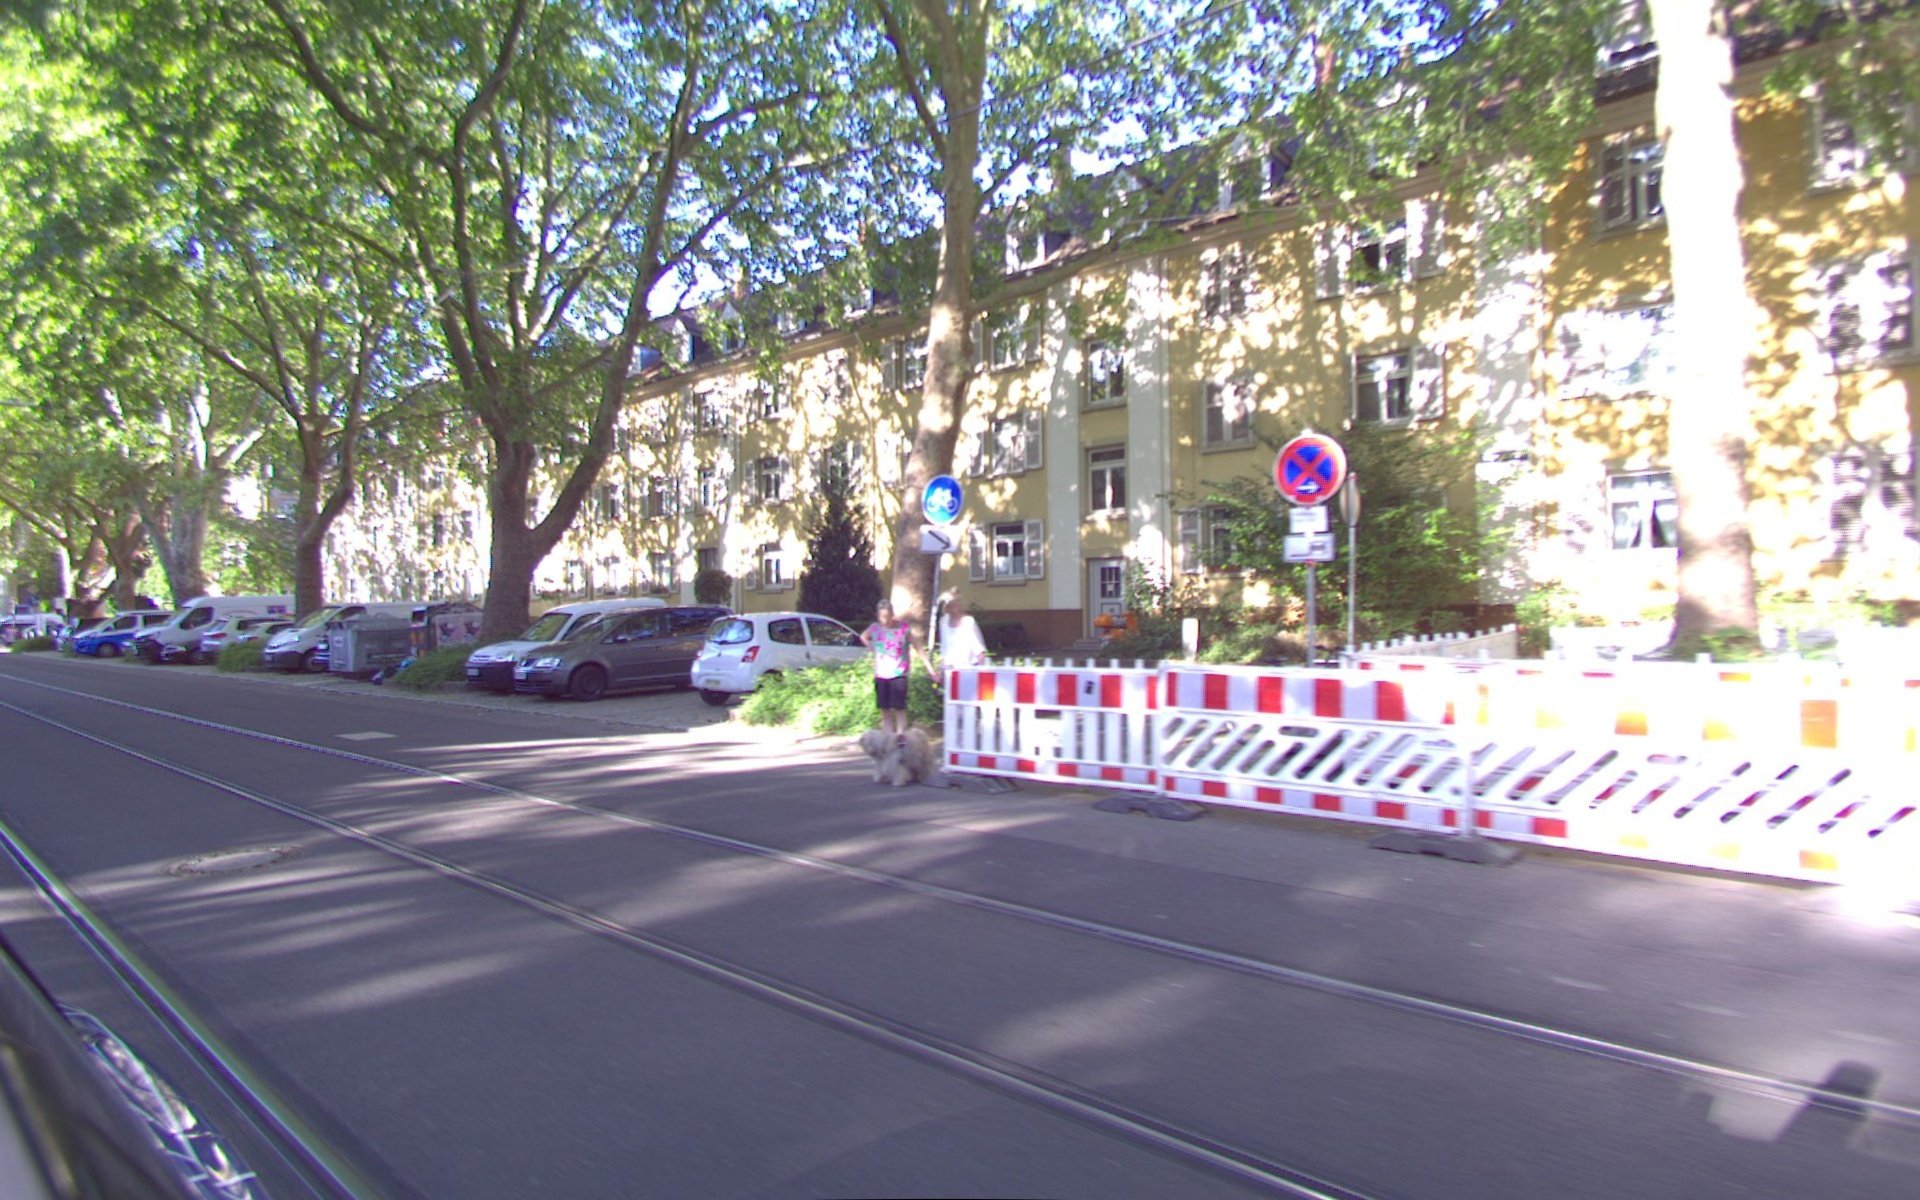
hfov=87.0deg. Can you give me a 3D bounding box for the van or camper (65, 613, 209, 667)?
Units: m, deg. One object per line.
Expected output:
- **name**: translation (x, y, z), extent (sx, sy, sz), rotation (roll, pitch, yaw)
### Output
- **van or camper**: translation (-37.460, 1.791, 46.153), extent (2.117, 2.206, 4.771), rotation (-2, 0, 40)

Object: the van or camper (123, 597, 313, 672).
- **van or camper**: translation (-27.767, 1.204, 38.039), extent (2.443, 2.535, 5.335), rotation (-2, 0, 40)

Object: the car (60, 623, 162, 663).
- **car**: translation (-42.290, 2.104, 50.451), extent (1.703, 1.828, 3.645), rotation (-2, 0, 40)

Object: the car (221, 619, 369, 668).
- **car**: translation (-22.185, 1.409, 33.863), extent (1.861, 1.509, 3.807), rotation (-2, -1, 41)

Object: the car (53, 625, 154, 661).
- **car**: translation (-44.009, 2.197, 52.052), extent (1.796, 1.636, 3.650), rotation (-2, 0, 36)

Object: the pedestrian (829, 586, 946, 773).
- **pedestrian**: translation (-0.727, 0.757, 10.164), extent (0.796, 1.758, 0.813), rotation (-1, 0, 41)

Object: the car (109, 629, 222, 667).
- **car**: translation (-34.449, 2.057, 43.934), extent (1.692, 1.471, 3.500), rotation (-2, 0, 34)

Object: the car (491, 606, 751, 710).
- **car**: translation (-6.235, 0.994, 18.890), extent (4.183, 1.701, 1.935), rotation (0, -1, -42)

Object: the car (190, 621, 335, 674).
- **car**: translation (-24.035, 1.594, 34.980), extent (1.861, 1.675, 3.807), rotation (-2, -1, 41)

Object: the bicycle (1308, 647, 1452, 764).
- **bicycle**: translation (4.243, 0.998, 10.140), extent (0.726, 0.970, 1.951), rotation (-2, -1, 41)

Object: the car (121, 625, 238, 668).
- **car**: translation (-32.656, 1.902, 42.411), extent (1.612, 1.577, 3.643), rotation (-2, 0, 42)

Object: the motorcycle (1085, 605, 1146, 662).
- **motorcycle**: translation (3.581, 0.745, 23.288), extent (0.523, 1.250, 1.691), rotation (-2, -1, 42)

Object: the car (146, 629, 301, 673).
- **car**: translation (-26.177, 1.779, 36.070), extent (1.752, 1.409, 4.220), rotation (-2, -1, 41)

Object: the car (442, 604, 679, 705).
- **car**: translation (-7.981, 1.011, 20.551), extent (1.737, 1.771, 4.159), rotation (-2, 0, 38)

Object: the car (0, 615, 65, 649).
- **car**: translation (-71.483, 2.418, 76.859), extent (2.026, 2.415, 4.957), rotation (-3, -1, 39)

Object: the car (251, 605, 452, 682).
- **car**: translation (-17.600, 1.194, 29.464), extent (1.959, 1.960, 4.613), rotation (-2, 0, 37)

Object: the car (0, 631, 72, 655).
- **car**: translation (-65.308, 3.026, 71.081), extent (1.923, 1.527, 4.119), rotation (-3, -1, 39)

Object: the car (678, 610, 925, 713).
- **car**: translation (-2.567, 0.944, 17.010), extent (1.861, 1.509, 3.807), rotation (-2, -1, 41)

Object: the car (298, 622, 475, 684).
- **car**: translation (-15.544, 1.392, 27.547), extent (1.861, 1.509, 3.807), rotation (-2, -1, 41)

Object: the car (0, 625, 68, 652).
- **car**: translation (-67.269, 2.801, 72.761), extent (2.026, 1.779, 4.409), rotation (-3, -1, 39)

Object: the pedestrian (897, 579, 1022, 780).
- **pedestrian**: translation (0.000, 0.696, 9.452), extent (0.796, 1.758, 0.813), rotation (-1, 0, 41)

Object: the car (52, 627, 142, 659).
- **car**: translation (-47.194, 2.316, 55.384), extent (3.639, 1.565, 1.705), rotation (-1, 0, -44)
